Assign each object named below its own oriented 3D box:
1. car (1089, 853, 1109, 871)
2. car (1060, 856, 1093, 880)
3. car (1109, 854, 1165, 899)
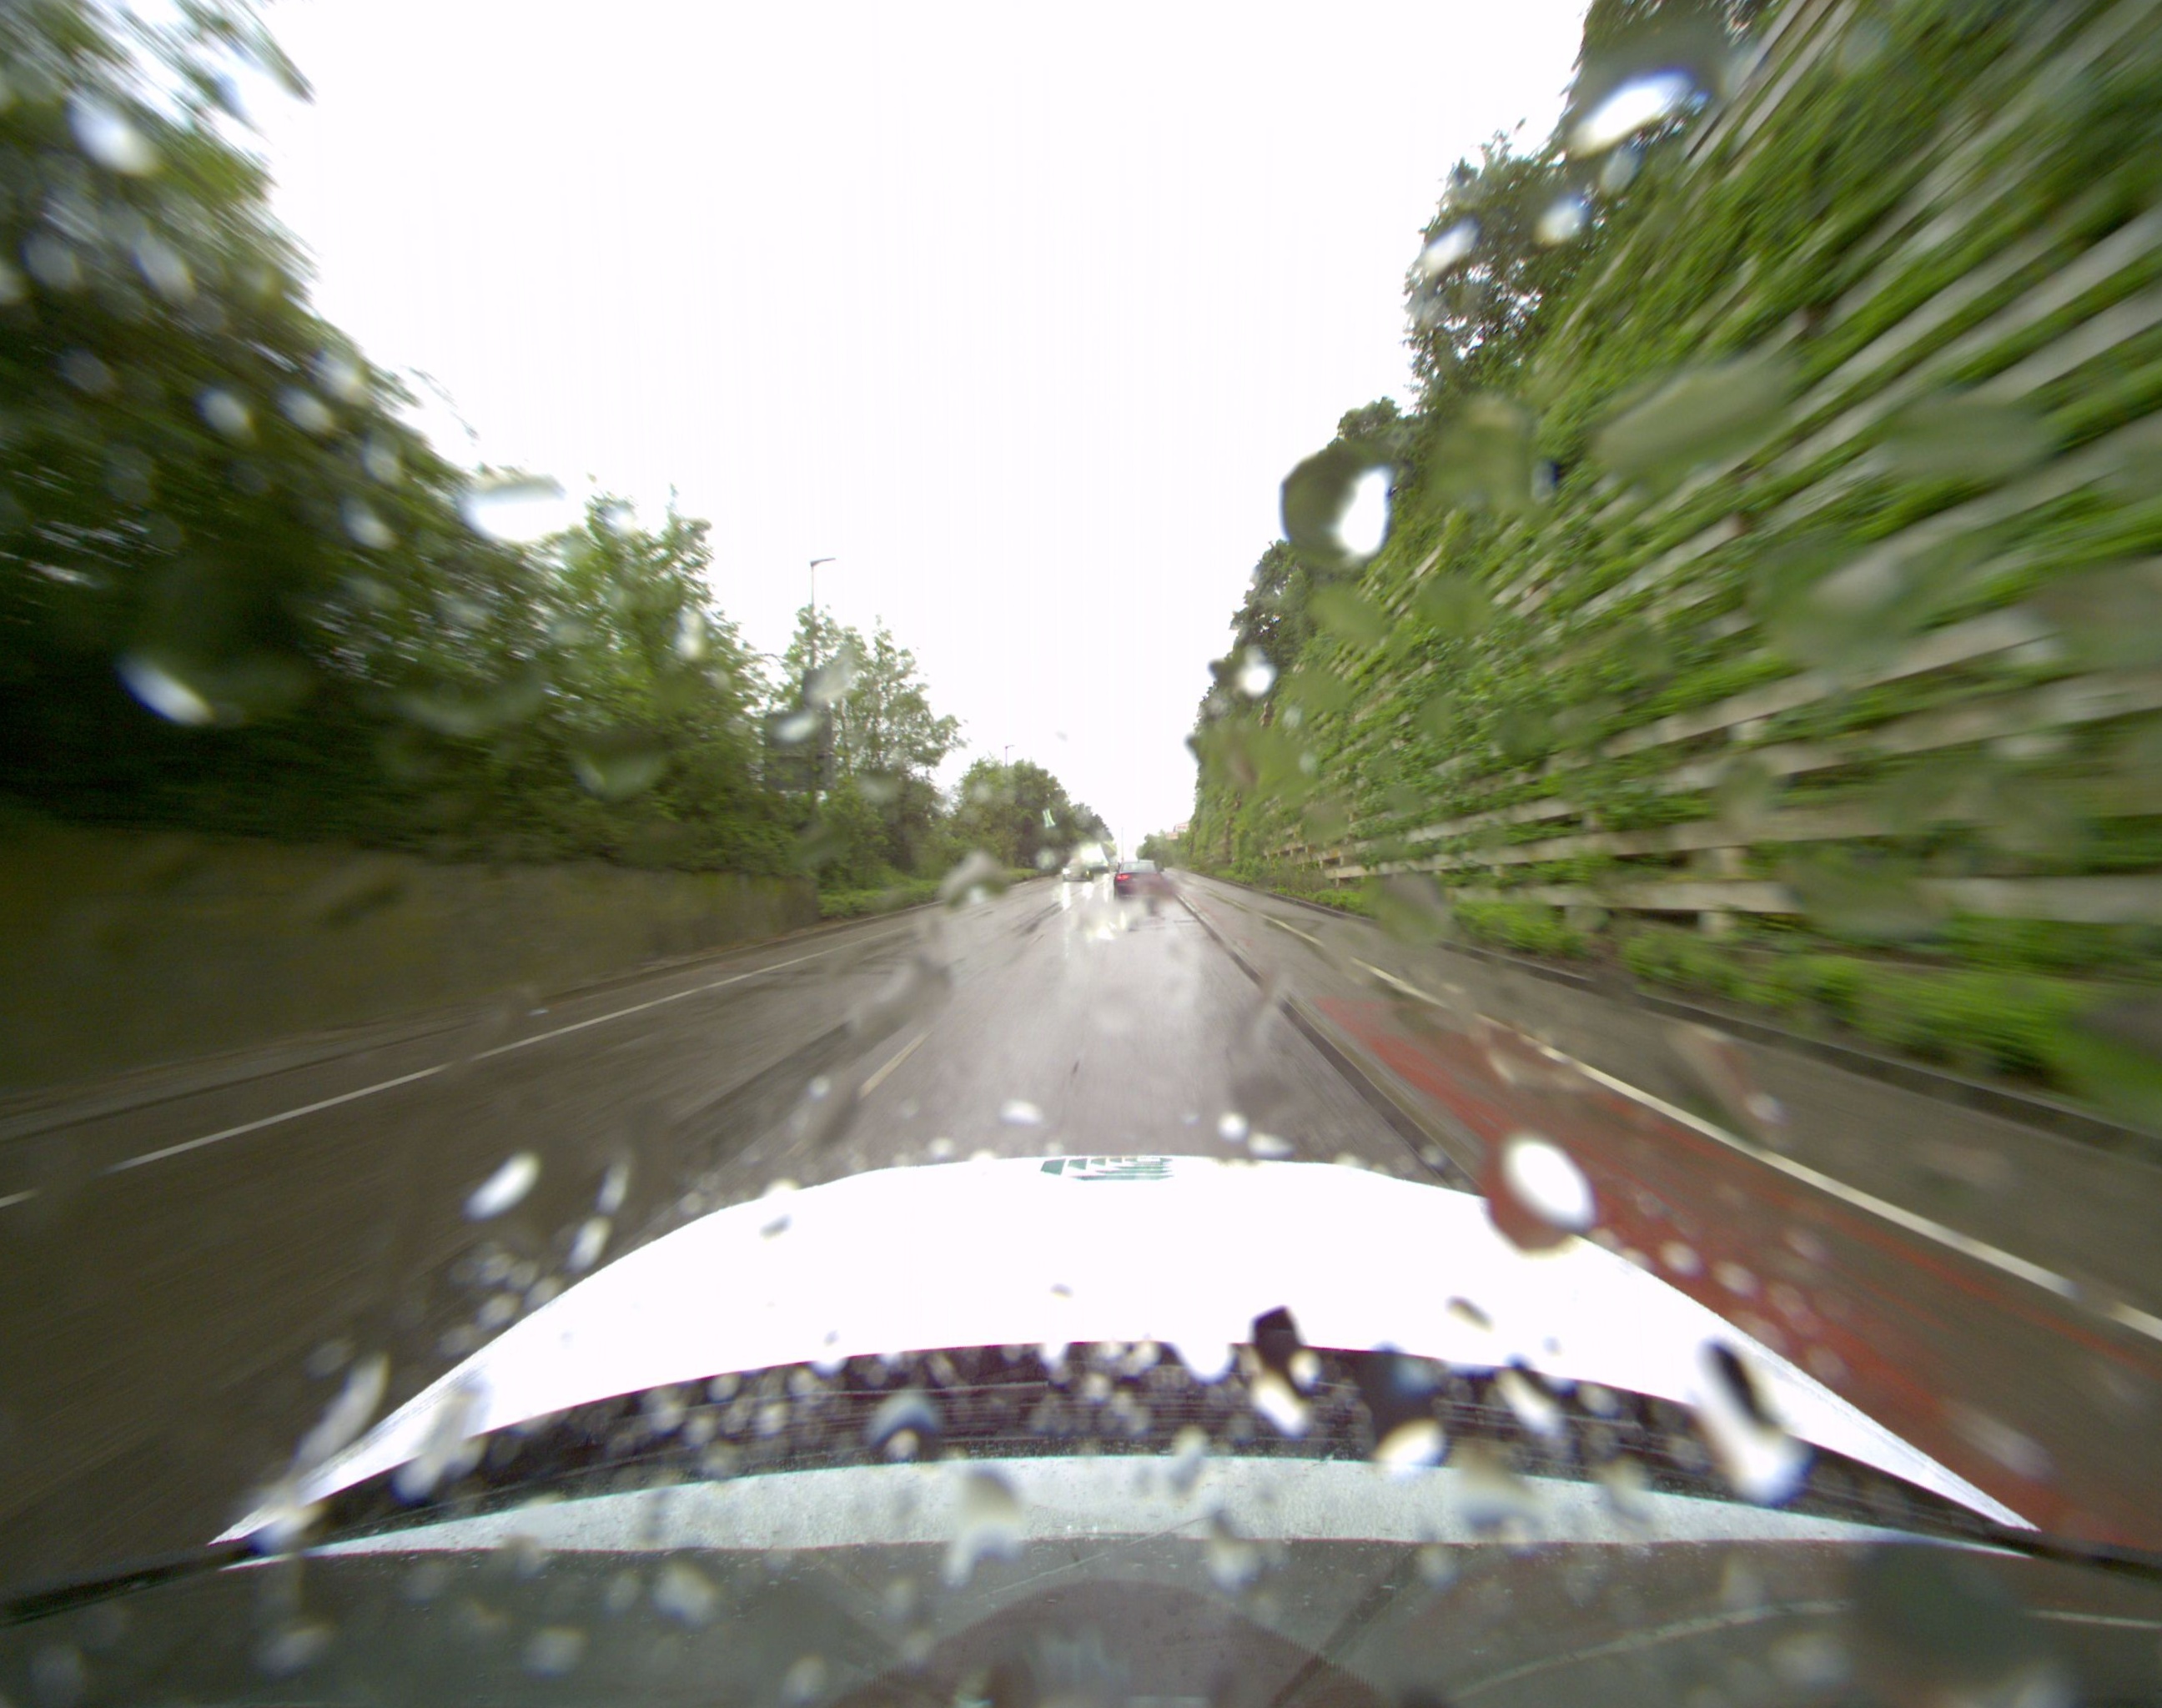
[{"bbox_3d":[1.745,0.763,77.807,1.815,1.615,4.096,-1,0,3],"label":"car"},{"bbox_3d":[-0.236,0.878,51.929,1.858,1.449,4.380,-1,0,2],"label":"car"},{"bbox_3d":[2.078,0.764,29.669,1.884,1.492,4.213,-1,0,5],"label":"car"}]
